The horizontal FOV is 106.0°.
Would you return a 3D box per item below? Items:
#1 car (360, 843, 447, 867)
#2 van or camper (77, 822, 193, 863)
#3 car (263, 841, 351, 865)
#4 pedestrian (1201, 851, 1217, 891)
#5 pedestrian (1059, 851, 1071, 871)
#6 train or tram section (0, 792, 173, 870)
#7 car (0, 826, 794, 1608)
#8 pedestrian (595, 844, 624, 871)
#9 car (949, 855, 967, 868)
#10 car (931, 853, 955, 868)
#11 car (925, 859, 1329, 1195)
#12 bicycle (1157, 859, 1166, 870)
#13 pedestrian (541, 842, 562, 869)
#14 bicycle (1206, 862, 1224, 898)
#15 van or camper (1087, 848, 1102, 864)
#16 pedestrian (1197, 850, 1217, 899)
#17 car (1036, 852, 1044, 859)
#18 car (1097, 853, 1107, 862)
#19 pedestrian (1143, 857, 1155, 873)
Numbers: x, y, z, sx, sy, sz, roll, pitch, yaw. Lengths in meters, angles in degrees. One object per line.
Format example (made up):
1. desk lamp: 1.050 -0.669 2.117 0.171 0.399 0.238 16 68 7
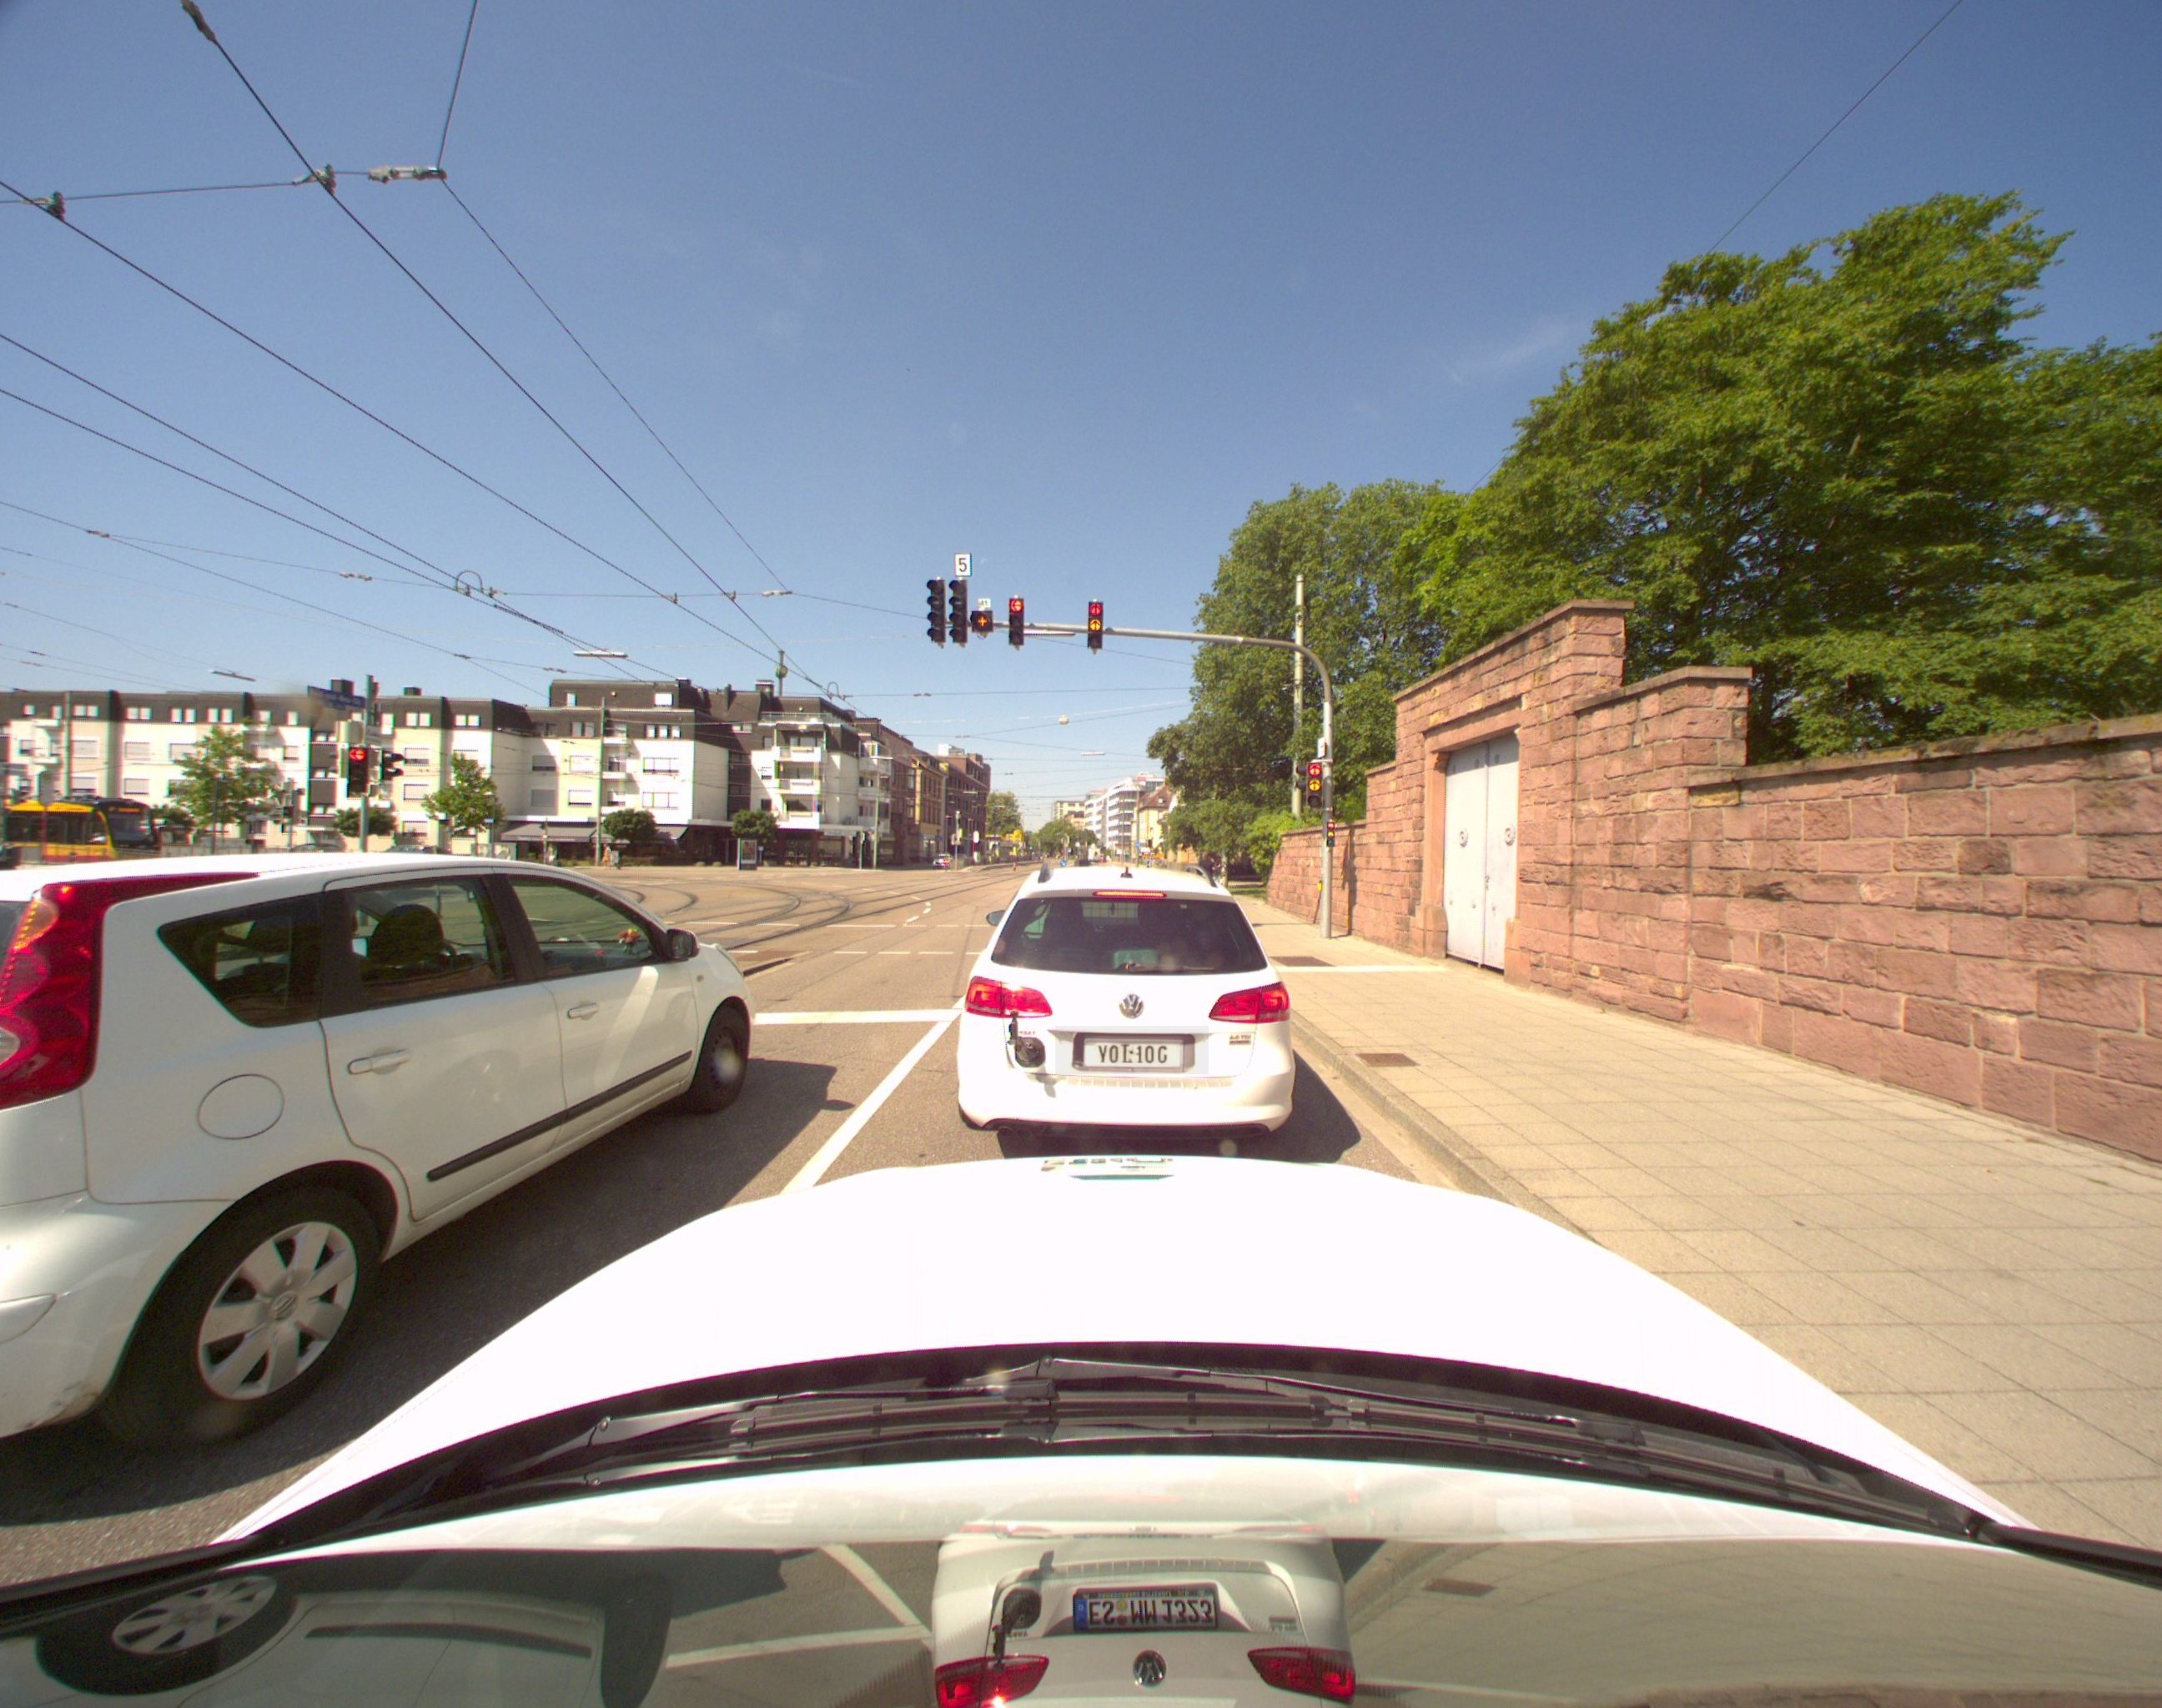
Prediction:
1. car: -44.938 0.067 54.079 4.158 1.500 1.828 1 0 0
2. van or camper: -62.655 -0.751 54.001 4.859 2.624 2.376 1 0 0
3. car: -51.204 -0.079 53.926 3.973 1.500 1.828 1 0 0
4. pedestrian: 5.430 0.709 34.618 0.646 1.682 0.709 1 0 8
5. pedestrian: -1.421 0.635 73.094 0.830 1.809 0.827 1 -1 -25
6. train or tram section: -53.601 -1.166 40.502 13.814 3.658 2.769 1 0 1
7. car: -2.956 0.734 3.677 1.759 1.561 4.068 0 0 2
8. pedestrian: -32.317 0.216 55.822 1.109 1.836 1.447 0 0 43
9. car: -13.365 0.806 88.628 1.568 1.459 3.811 1 0 -2
10. car: -13.700 0.636 80.878 1.620 1.431 3.962 2 0 0
11. car: 0.263 0.763 5.484 1.746 1.418 3.854 1 0 2
12. bicycle: 8.928 1.167 90.249 0.720 1.139 2.203 1 0 14
13. pedestrian: -34.396 0.094 52.895 0.755 1.760 0.815 1 0 14
14. bicycle: 4.322 0.831 26.209 0.532 1.111 1.812 0 -1 11
15. van or camper: 2.790 0.383 169.902 2.935 3.180 6.609 1 0 -1
16. pedestrian: 4.073 0.649 26.353 0.538 1.549 0.663 -1 0 1
17. car: -11.288 0.396 223.598 1.987 2.014 3.999 0 -1 0
18. car: 5.036 0.896 192.557 1.989 2.013 3.996 1 0 -3
19. pedestrian: 6.208 1.004 74.263 0.848 1.510 0.786 1 -1 40
